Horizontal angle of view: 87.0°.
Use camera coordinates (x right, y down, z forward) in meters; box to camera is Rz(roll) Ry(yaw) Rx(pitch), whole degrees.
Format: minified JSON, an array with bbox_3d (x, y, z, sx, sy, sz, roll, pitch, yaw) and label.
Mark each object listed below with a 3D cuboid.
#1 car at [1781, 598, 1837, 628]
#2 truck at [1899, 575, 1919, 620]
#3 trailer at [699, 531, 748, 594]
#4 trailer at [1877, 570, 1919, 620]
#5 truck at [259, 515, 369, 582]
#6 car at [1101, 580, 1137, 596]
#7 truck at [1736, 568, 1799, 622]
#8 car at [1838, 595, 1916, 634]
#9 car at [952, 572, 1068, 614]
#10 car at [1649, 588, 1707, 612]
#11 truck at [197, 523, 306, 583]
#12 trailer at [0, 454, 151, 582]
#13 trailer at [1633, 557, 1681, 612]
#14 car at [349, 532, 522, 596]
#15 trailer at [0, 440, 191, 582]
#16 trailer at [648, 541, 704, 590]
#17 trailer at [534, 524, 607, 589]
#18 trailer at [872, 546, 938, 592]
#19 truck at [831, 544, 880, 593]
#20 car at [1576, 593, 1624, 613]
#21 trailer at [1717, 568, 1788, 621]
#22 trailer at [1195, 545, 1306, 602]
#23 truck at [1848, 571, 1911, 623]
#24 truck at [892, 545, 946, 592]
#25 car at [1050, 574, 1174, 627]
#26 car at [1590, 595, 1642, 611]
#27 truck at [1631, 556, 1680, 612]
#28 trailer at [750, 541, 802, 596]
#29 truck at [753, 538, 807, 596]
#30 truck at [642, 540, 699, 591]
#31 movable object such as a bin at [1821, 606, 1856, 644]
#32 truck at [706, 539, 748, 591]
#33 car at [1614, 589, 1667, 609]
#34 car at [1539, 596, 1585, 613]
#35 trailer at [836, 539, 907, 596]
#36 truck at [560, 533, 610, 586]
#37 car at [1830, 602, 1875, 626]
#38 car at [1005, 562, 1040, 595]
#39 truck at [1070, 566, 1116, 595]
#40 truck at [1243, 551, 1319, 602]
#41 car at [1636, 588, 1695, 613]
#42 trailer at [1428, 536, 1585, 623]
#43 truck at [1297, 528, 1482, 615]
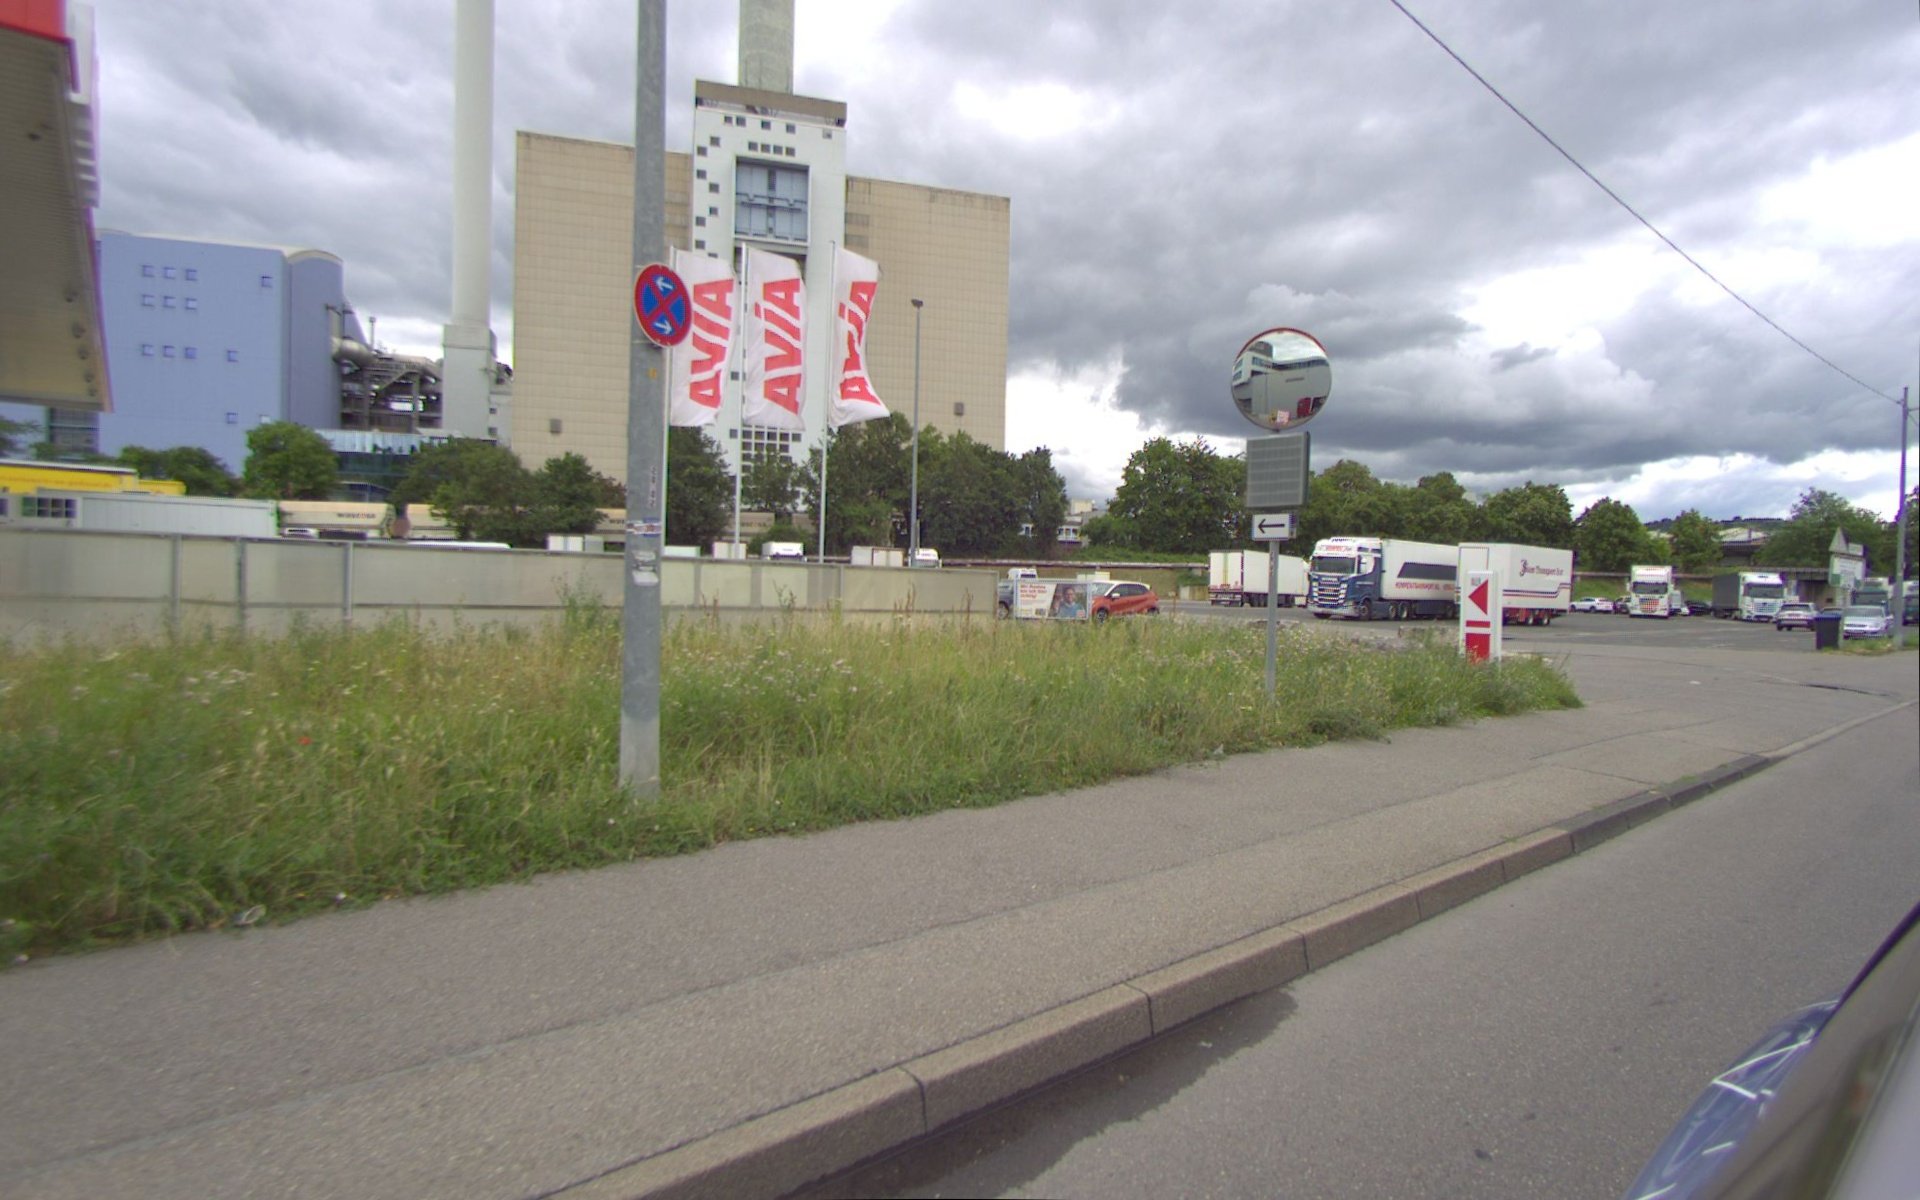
[{"bbox_3d":[47.866,0.728,57.052,3.929,1.591,1.768,0,-1,-40],"label":"car"},{"bbox_3d":[81.086,-0.168,84.513,2.857,3.675,6.672,3,2,35],"label":"truck"},{"bbox_3d":[-19.159,-2.948,82.738,3.484,4.557,18.328,0,1,-12],"label":"trailer"},{"bbox_3d":[84.621,-0.418,89.741,2.821,4.145,13.233,3,2,34],"label":"trailer"},{"bbox_3d":[-45.333,-3.455,71.519,2.812,4.345,12.004,0,1,-14],"label":"truck"},{"bbox_3d":[15.106,-1.176,96.434,1.958,1.371,4.157,1,1,-13],"label":"car"},{"bbox_3d":[65.733,-0.456,82.534,2.851,4.145,6.684,3,2,30],"label":"truck"},{"bbox_3d":[37.906,0.588,41.793,4.479,1.482,1.777,1,1,-40],"label":"car"},{"bbox_3d":[1.868,-0.262,37.152,4.141,1.408,1.769,0,3,-41],"label":"car"},{"bbox_3d":[77.629,-0.010,109.497,2.322,2.479,4.928,1,1,-8],"label":"car"},{"bbox_3d":[-55.231,-3.521,79.382,2.812,4.345,12.004,0,1,-14],"label":"truck"},{"bbox_3d":[-33.529,-2.645,30.585,14.052,3.963,3.005,0,2,-41],"label":"trailer"},{"bbox_3d":[58.103,-1.271,84.182,2.823,4.145,13.222,3,2,36],"label":"trailer"},{"bbox_3d":[-17.591,-1.164,34.082,4.863,1.936,1.987,1,1,-41],"label":"car"},{"bbox_3d":[-35.086,-3.129,34.398,14.052,4.781,3.005,0,2,-41],"label":"trailer"},{"bbox_3d":[-23.935,-2.867,86.097,3.566,3.590,18.541,1,1,-13],"label":"trailer"},{"bbox_3d":[-30.801,-3.298,80.888,3.484,4.557,18.331,0,1,-15],"label":"trailer"},{"bbox_3d":[-5.744,-3.051,100.564,3.566,4.008,18.540,1,1,-12],"label":"trailer"},{"bbox_3d":[-9.815,-2.917,94.572,3.634,4.225,7.271,1,1,-12],"label":"truck"},{"bbox_3d":[67.572,0.292,106.910,1.959,1.896,4.008,1,1,-10],"label":"car"},{"bbox_3d":[69.284,-0.517,88.768,2.816,4.145,13.255,3,2,30],"label":"trailer"},{"bbox_3d":[22.196,-1.880,76.479,3.621,3.959,13.558,2,1,36],"label":"trailer"},{"bbox_3d":[76.213,-0.256,84.043,2.857,4.063,6.672,3,2,35],"label":"truck"},{"bbox_3d":[-3.813,-2.831,91.630,3.634,4.014,7.271,1,1,-12],"label":"truck"},{"bbox_3d":[5.090,0.003,33.594,4.141,1.590,1.769,0,3,-41],"label":"car"},{"bbox_3d":[70.030,0.305,108.166,1.959,1.457,4.728,1,1,-8],"label":"car"},{"bbox_3d":[54.549,-1.234,79.277,2.858,4.145,6.669,3,2,36],"label":"truck"},{"bbox_3d":[-16.198,-2.692,87.725,3.566,4.140,18.541,1,1,-13],"label":"trailer"},{"bbox_3d":[-14.119,-2.539,78.744,3.633,4.171,7.272,1,1,-13],"label":"truck"},{"bbox_3d":[-21.931,-2.624,77.157,3.634,3.602,7.271,1,1,-12],"label":"truck"},{"bbox_3d":[25.861,0.732,29.795,0.714,1.095,0.652,2,1,44],"label":"movable object such as a bin"},{"bbox_3d":[-21.094,-3.136,91.729,3.474,4.488,6.668,0,1,-13],"label":"truck"},{"bbox_3d":[72.433,-0.131,107.839,1.959,1.916,4.728,1,1,-8],"label":"car"},{"bbox_3d":[63.043,0.425,106.083,1.959,1.629,4.008,1,1,-10],"label":"car"},{"bbox_3d":[-7.773,-2.674,85.429,3.566,4.225,18.540,1,1,-12],"label":"trailer"},{"bbox_3d":[-33.213,-3.512,89.872,3.474,4.488,6.669,0,1,-15],"label":"truck"},{"bbox_3d":[58.133,0.902,65.892,3.979,1.513,1.497,0,1,-39],"label":"car"},{"bbox_3d":[5.699,-2.003,92.903,2.065,2.872,5.096,1,1,-9],"label":"car"},{"bbox_3d":[12.618,-1.925,96.747,2.233,2.521,5.973,2,3,-14],"label":"truck"},{"bbox_3d":[26.006,-1.882,81.719,3.612,3.927,7.158,2,1,37],"label":"truck"},{"bbox_3d":[75.244,0.002,108.010,2.322,2.479,4.928,1,1,-8],"label":"car"},{"bbox_3d":[28.067,-0.987,51.673,10.212,4.015,2.967,1,3,-37],"label":"trailer"},{"bbox_3d":[22.356,-1.378,52.043,12.836,4.015,3.082,0,3,-40],"label":"truck"}]
